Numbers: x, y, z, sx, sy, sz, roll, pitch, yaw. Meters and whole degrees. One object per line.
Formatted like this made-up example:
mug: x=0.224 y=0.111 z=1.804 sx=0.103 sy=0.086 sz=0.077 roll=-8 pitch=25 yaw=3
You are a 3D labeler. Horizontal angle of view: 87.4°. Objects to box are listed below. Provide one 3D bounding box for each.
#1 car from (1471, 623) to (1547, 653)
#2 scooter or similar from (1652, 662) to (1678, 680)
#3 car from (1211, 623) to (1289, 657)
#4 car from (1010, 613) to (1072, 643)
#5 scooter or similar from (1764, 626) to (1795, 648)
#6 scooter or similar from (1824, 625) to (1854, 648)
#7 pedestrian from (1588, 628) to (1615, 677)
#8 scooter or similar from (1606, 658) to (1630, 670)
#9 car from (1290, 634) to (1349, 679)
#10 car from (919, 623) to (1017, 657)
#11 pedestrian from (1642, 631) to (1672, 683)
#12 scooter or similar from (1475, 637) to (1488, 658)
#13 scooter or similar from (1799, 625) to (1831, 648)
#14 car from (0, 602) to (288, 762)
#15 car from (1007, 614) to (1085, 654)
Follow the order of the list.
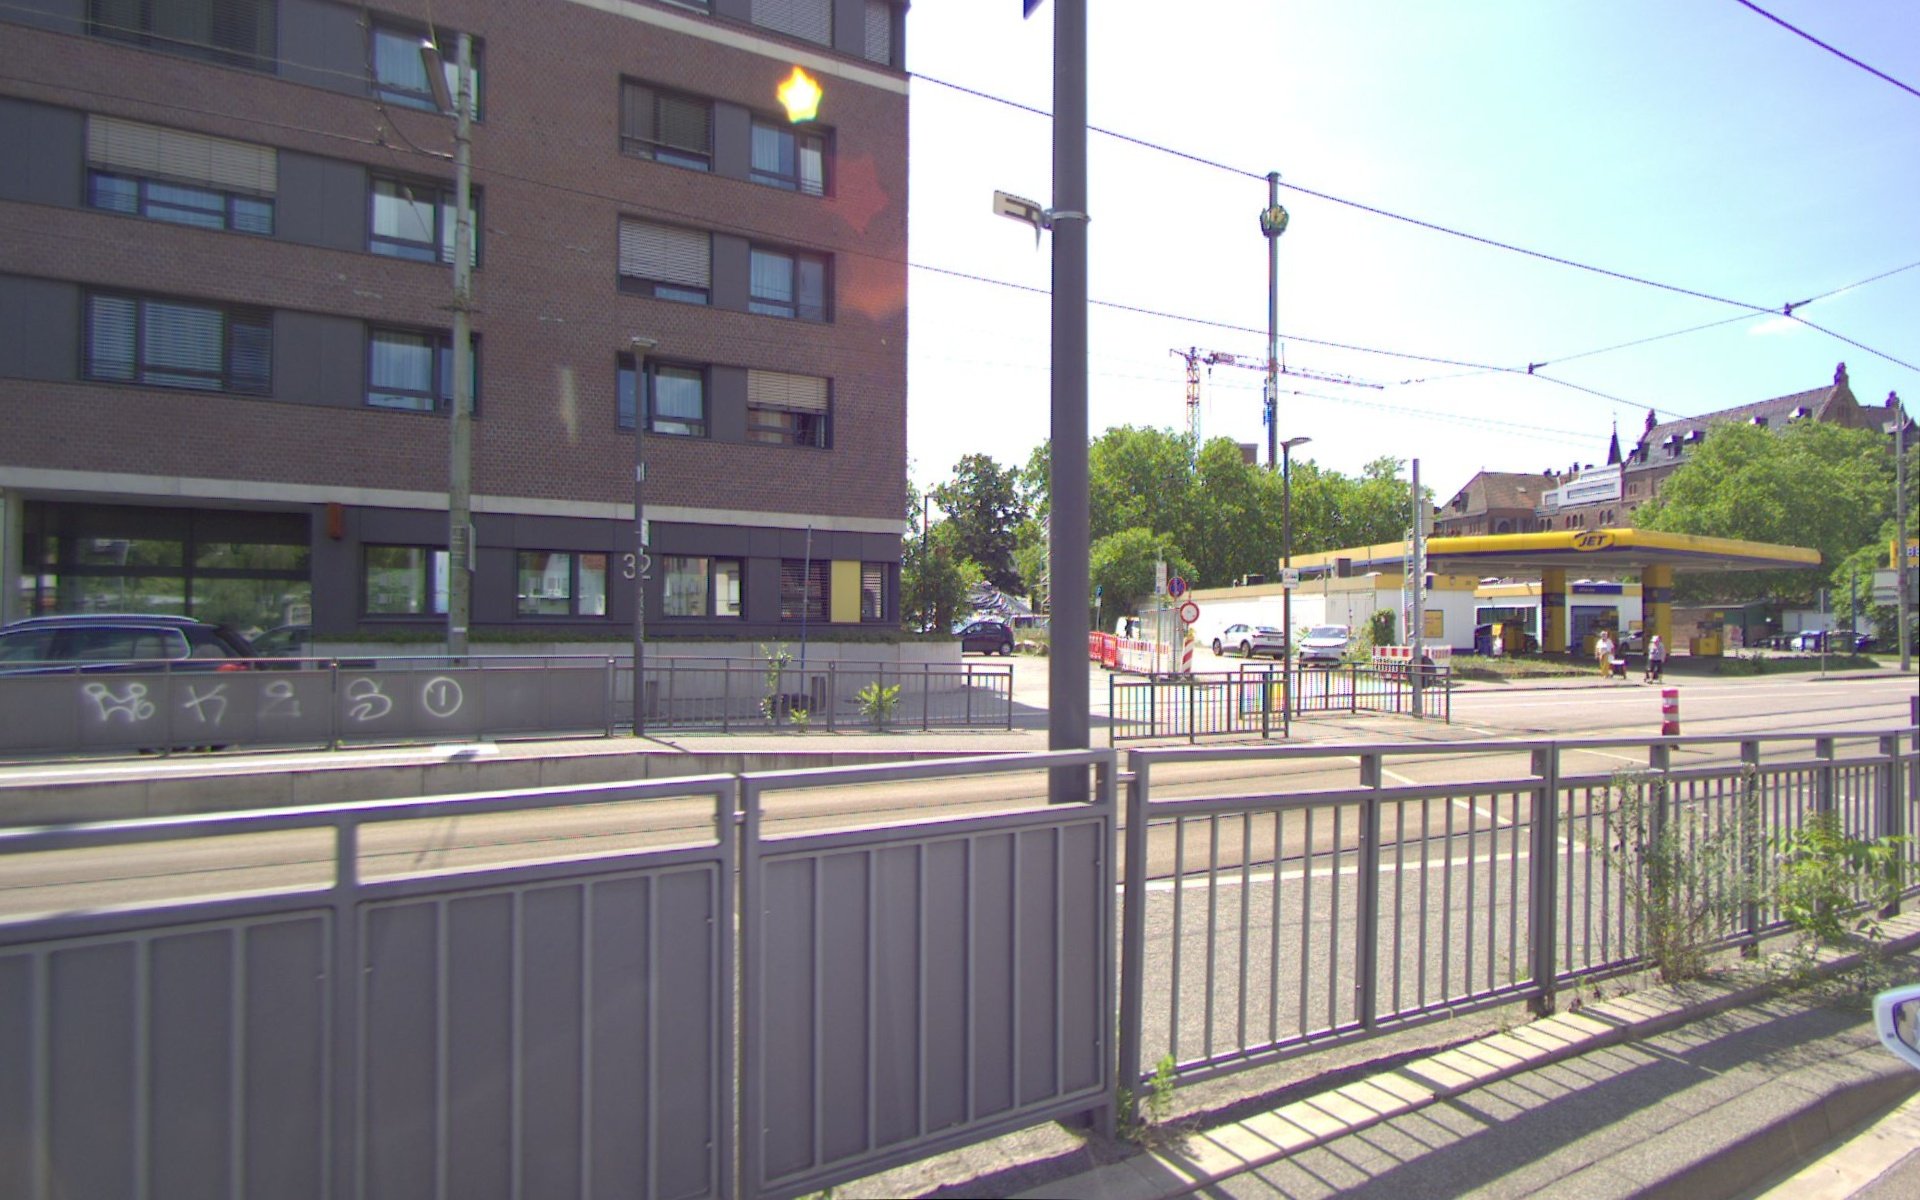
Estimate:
car: x=32.258 y=2.257 z=59.056 sx=3.702 sy=1.725 sz=1.601 roll=0 pitch=-3 yaw=-10
scooter or similar: x=24.010 y=2.428 z=34.211 sx=0.622 sy=0.588 sz=0.475 roll=1 pitch=-1 yaw=-24
car: x=13.268 y=1.798 z=46.243 sx=1.729 sy=1.482 sz=4.007 roll=0 pitch=-1 yaw=-13
car: x=3.853 y=1.324 z=47.694 sx=2.701 sy=1.398 sz=1.217 roll=1 pitch=-1 yaw=-26
scooter or similar: x=56.685 y=2.532 z=69.459 sx=1.044 sy=1.486 sz=1.311 roll=1 pitch=-1 yaw=-23
scooter or similar: x=57.501 y=2.361 z=65.718 sx=1.046 sy=1.486 sz=1.167 roll=2 pitch=-2 yaw=-30
pedestrian: x=22.525 y=1.828 z=35.274 sx=0.664 sy=1.680 sz=0.550 roll=1 pitch=-1 yaw=-28
scooter or similar: x=23.354 y=2.279 z=35.643 sx=0.664 sy=0.400 sz=0.471 roll=1 pitch=-1 yaw=-28
car: x=13.857 y=2.126 z=38.723 sx=2.017 sy=1.588 sz=4.000 roll=0 pitch=-2 yaw=20
car: x=0.338 y=1.673 z=42.335 sx=3.857 sy=1.398 sz=1.619 roll=1 pitch=-1 yaw=-26
pedestrian: x=23.313 y=1.887 z=33.585 sx=0.658 sy=1.693 sz=0.578 roll=1 pitch=-1 yaw=-27
scooter or similar: x=23.078 y=2.094 z=44.430 sx=0.323 sy=0.942 sz=0.403 roll=1 pitch=-1 yaw=-32
scooter or similar: x=57.289 y=2.425 z=67.308 sx=1.044 sy=1.486 sz=1.311 roll=1 pitch=-2 yaw=-23
car: x=-9.972 y=0.905 z=11.384 sx=3.728 sy=1.648 sz=1.829 roll=2 pitch=-4 yaw=-30
car: x=4.581 y=1.780 z=53.019 sx=3.919 sy=2.040 sz=2.001 roll=0 pitch=-1 yaw=10
